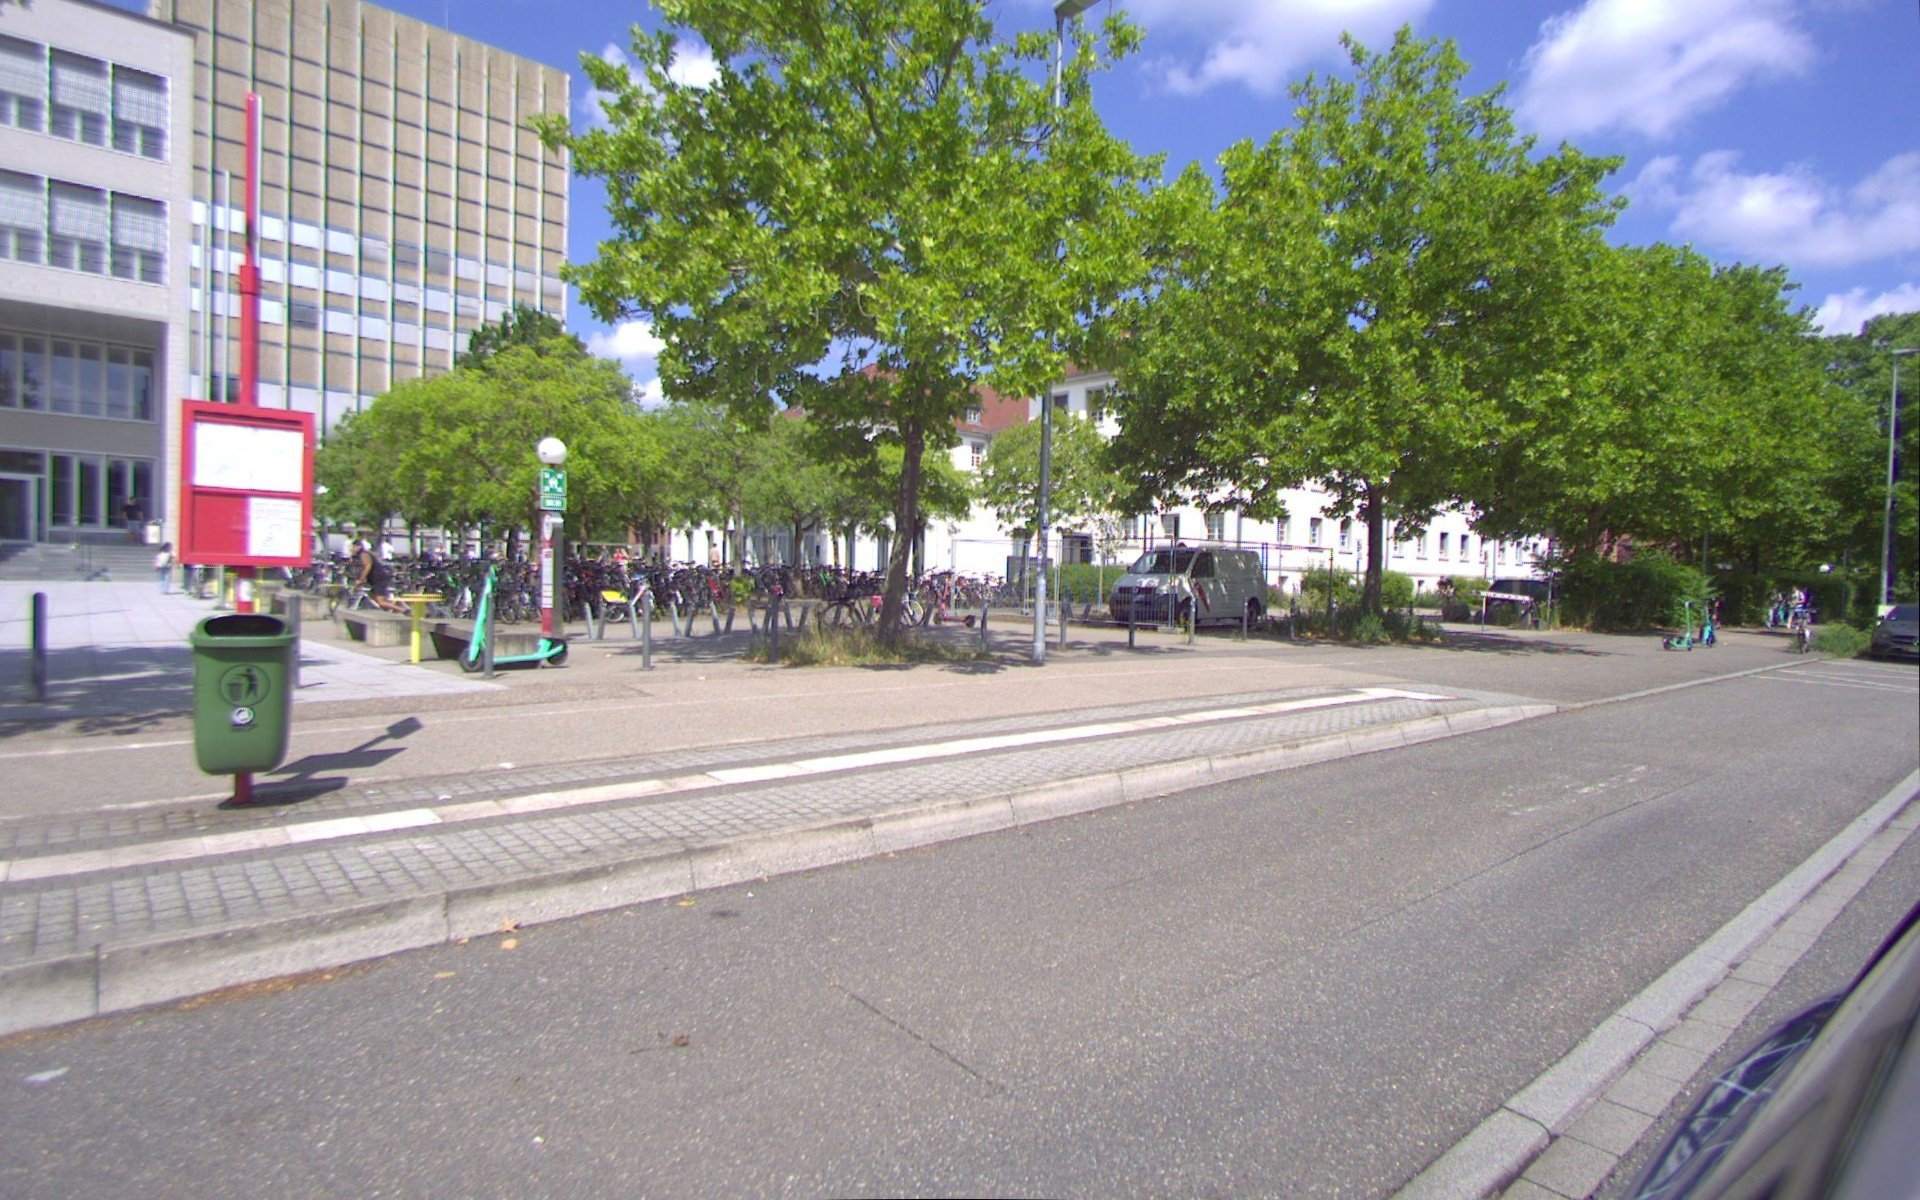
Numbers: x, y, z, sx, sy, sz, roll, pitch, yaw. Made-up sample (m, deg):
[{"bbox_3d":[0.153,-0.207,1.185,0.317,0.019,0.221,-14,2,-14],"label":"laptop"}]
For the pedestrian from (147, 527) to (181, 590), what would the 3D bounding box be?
[{"bbox_3d":[-22.673,-1.169,28.844,0.621,1.768,0.718,0,0,-25],"label":"pedestrian"}]

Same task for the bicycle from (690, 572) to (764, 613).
[{"bbox_3d":[-5.879,-0.201,25.527,1.745,0.966,0.600,2,1,19],"label":"bicycle"}]

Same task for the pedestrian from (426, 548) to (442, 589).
[{"bbox_3d":[-28.985,-1.737,55.755,0.701,2.257,0.635,0,0,-23],"label":"pedestrian"}]

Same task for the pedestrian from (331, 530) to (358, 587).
[{"bbox_3d":[-24.961,-1.672,41.054,0.707,2.257,0.630,0,0,18],"label":"pedestrian"}]

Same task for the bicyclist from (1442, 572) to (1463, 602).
[{"bbox_3d":[22.838,-0.614,46.927,0.730,1.336,0.607,0,3,-44],"label":"bicyclist"}]

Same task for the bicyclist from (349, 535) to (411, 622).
[{"bbox_3d":[-10.896,-0.403,19.038,0.913,1.583,0.664,1,2,-20],"label":"bicyclist"}]

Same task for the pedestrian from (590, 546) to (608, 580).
[{"bbox_3d":[-19.702,-2.006,55.219,0.626,1.799,0.712,0,0,18],"label":"pedestrian"}]

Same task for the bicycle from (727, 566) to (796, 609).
[{"bbox_3d":[-5.268,-0.341,26.833,1.744,1.113,0.600,0,0,19],"label":"bicycle"}]

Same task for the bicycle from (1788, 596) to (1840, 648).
[{"bbox_3d":[21.197,0.542,25.107,2.082,1.205,0.639,1,3,-42],"label":"bicycle"}]

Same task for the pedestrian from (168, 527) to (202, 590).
[{"bbox_3d":[-22.224,-1.172,29.040,0.621,1.768,0.718,0,0,-25],"label":"pedestrian"}]

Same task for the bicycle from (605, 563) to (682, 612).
[{"bbox_3d":[-7.670,-0.317,24.557,1.745,1.112,0.600,2,1,19],"label":"bicycle"}]

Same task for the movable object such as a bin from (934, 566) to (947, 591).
[{"bbox_3d":[-0.855,-0.933,43.998,0.388,1.068,0.362,4,3,44],"label":"movable object such as a bin"}]

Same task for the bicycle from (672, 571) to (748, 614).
[{"bbox_3d":[-6.121,-0.192,24.763,1.745,0.966,0.600,2,1,19],"label":"bicycle"}]

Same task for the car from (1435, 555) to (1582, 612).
[{"bbox_3d":[18.484,-0.549,34.232,1.967,1.805,3.990,0,1,-44],"label":"car"}]

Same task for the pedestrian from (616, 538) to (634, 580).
[{"bbox_3d":[-18.084,-2.204,54.590,0.626,2.257,0.712,0,0,18],"label":"pedestrian"}]

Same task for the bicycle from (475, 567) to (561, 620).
[{"bbox_3d":[-9.430,-0.139,21.610,1.744,1.113,0.600,0,0,19],"label":"bicycle"}]

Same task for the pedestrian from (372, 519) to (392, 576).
[{"bbox_3d":[-23.412,-2.108,40.985,0.622,2.257,0.855,0,0,-35],"label":"pedestrian"}]

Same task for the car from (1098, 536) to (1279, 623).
[{"bbox_3d":[5.569,-0.481,24.303,4.860,1.888,1.899,-1,2,-44],"label":"car"}]

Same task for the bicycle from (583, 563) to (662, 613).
[{"bbox_3d":[-7.966,-0.284,23.879,1.745,1.112,0.600,2,1,19],"label":"bicycle"}]

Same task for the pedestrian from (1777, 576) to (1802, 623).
[{"bbox_3d":[32.682,-0.021,39.872,0.679,1.803,0.781,0,0,34],"label":"pedestrian"}]

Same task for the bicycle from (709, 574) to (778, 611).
[{"bbox_3d":[-5.634,-0.204,26.293,1.745,0.879,0.481,2,1,19],"label":"bicycle"}]

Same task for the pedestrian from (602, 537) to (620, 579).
[{"bbox_3d":[-18.988,-2.267,55.079,0.626,2.257,0.712,0,0,18],"label":"pedestrian"}]

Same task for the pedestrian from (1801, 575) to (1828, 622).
[{"bbox_3d":[33.315,-0.059,39.454,0.679,1.803,0.782,0,0,32],"label":"pedestrian"}]

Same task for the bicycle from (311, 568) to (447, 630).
[{"bbox_3d":[-10.901,-0.041,19.093,2.109,1.092,0.906,-1,1,-22],"label":"bicycle"}]

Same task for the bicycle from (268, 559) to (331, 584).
[{"bbox_3d":[-22.354,-0.957,34.271,0.517,0.802,1.745,2,2,36],"label":"bicycle"}]

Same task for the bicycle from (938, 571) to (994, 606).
[{"bbox_3d":[0.208,-0.373,33.081,1.744,1.113,0.589,0,0,18],"label":"bicycle"}]

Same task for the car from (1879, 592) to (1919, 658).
[{"bbox_3d":[24.112,0.643,24.726,4.855,1.496,1.861,1,3,-41],"label":"car"}]

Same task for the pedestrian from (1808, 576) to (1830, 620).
[{"bbox_3d":[35.100,-0.082,41.364,0.681,1.803,0.779,0,0,42],"label":"pedestrian"}]

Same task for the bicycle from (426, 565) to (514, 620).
[{"bbox_3d":[-10.260,-0.163,21.181,1.744,1.113,0.600,0,0,19],"label":"bicycle"}]

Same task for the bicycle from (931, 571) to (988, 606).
[{"bbox_3d":[-0.016,-0.366,32.508,1.744,1.113,0.513,0,0,18],"label":"bicycle"}]

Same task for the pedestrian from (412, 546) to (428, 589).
[{"bbox_3d":[-28.631,-1.712,53.637,0.701,2.257,0.635,0,0,-23],"label":"pedestrian"}]

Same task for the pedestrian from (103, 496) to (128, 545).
[{"bbox_3d":[-32.018,-3.006,38.396,0.707,1.820,0.716,0,0,-39],"label":"pedestrian"}]

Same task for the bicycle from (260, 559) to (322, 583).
[{"bbox_3d":[-23.158,-1.004,35.065,0.517,0.802,1.745,2,2,36],"label":"bicycle"}]

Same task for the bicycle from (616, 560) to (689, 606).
[{"bbox_3d":[-7.822,-0.430,25.749,1.745,1.112,0.600,2,1,19],"label":"bicycle"}]

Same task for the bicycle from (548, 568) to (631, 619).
[{"bbox_3d":[-8.197,-0.149,22.409,1.744,1.113,0.600,0,0,19],"label":"bicycle"}]

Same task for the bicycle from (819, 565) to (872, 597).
[{"bbox_3d":[-3.981,-0.659,35.052,1.744,1.113,0.600,0,0,18],"label":"bicycle"}]

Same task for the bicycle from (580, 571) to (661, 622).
[{"bbox_3d":[-7.754,-0.087,23.124,1.745,1.112,0.600,2,1,19],"label":"bicycle"}]

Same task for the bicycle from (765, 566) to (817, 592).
[{"bbox_3d":[-5.963,-0.733,35.757,1.744,0.880,0.600,0,0,18],"label":"bicycle"}]
